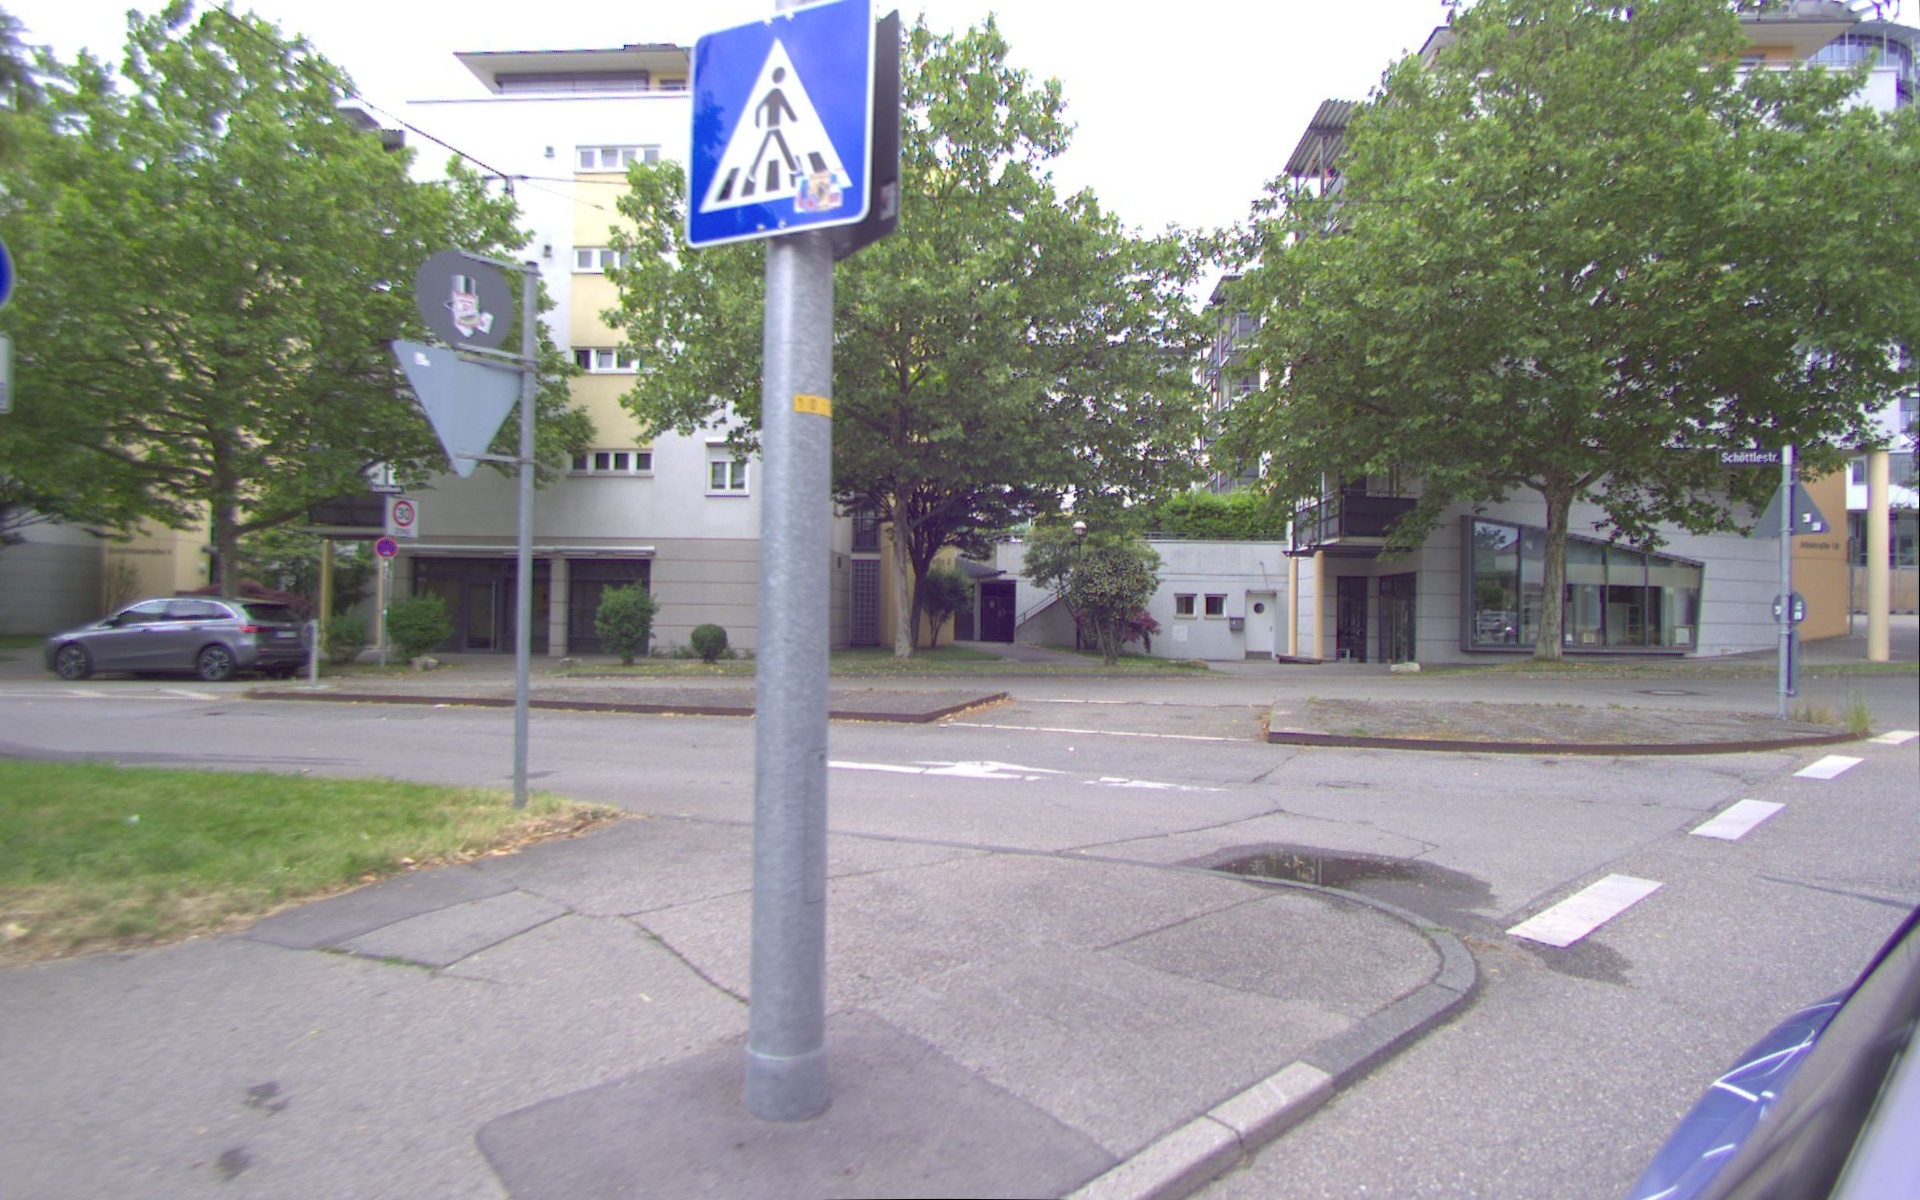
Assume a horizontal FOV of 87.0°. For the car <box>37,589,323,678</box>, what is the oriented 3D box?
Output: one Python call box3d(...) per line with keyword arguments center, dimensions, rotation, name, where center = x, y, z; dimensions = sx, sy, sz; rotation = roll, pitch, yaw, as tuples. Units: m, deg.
box3d(center=(-14.509, 0.647, 18.990), dimensions=(3.945, 1.589, 1.878), rotation=(0, -4, 3), name="car")
